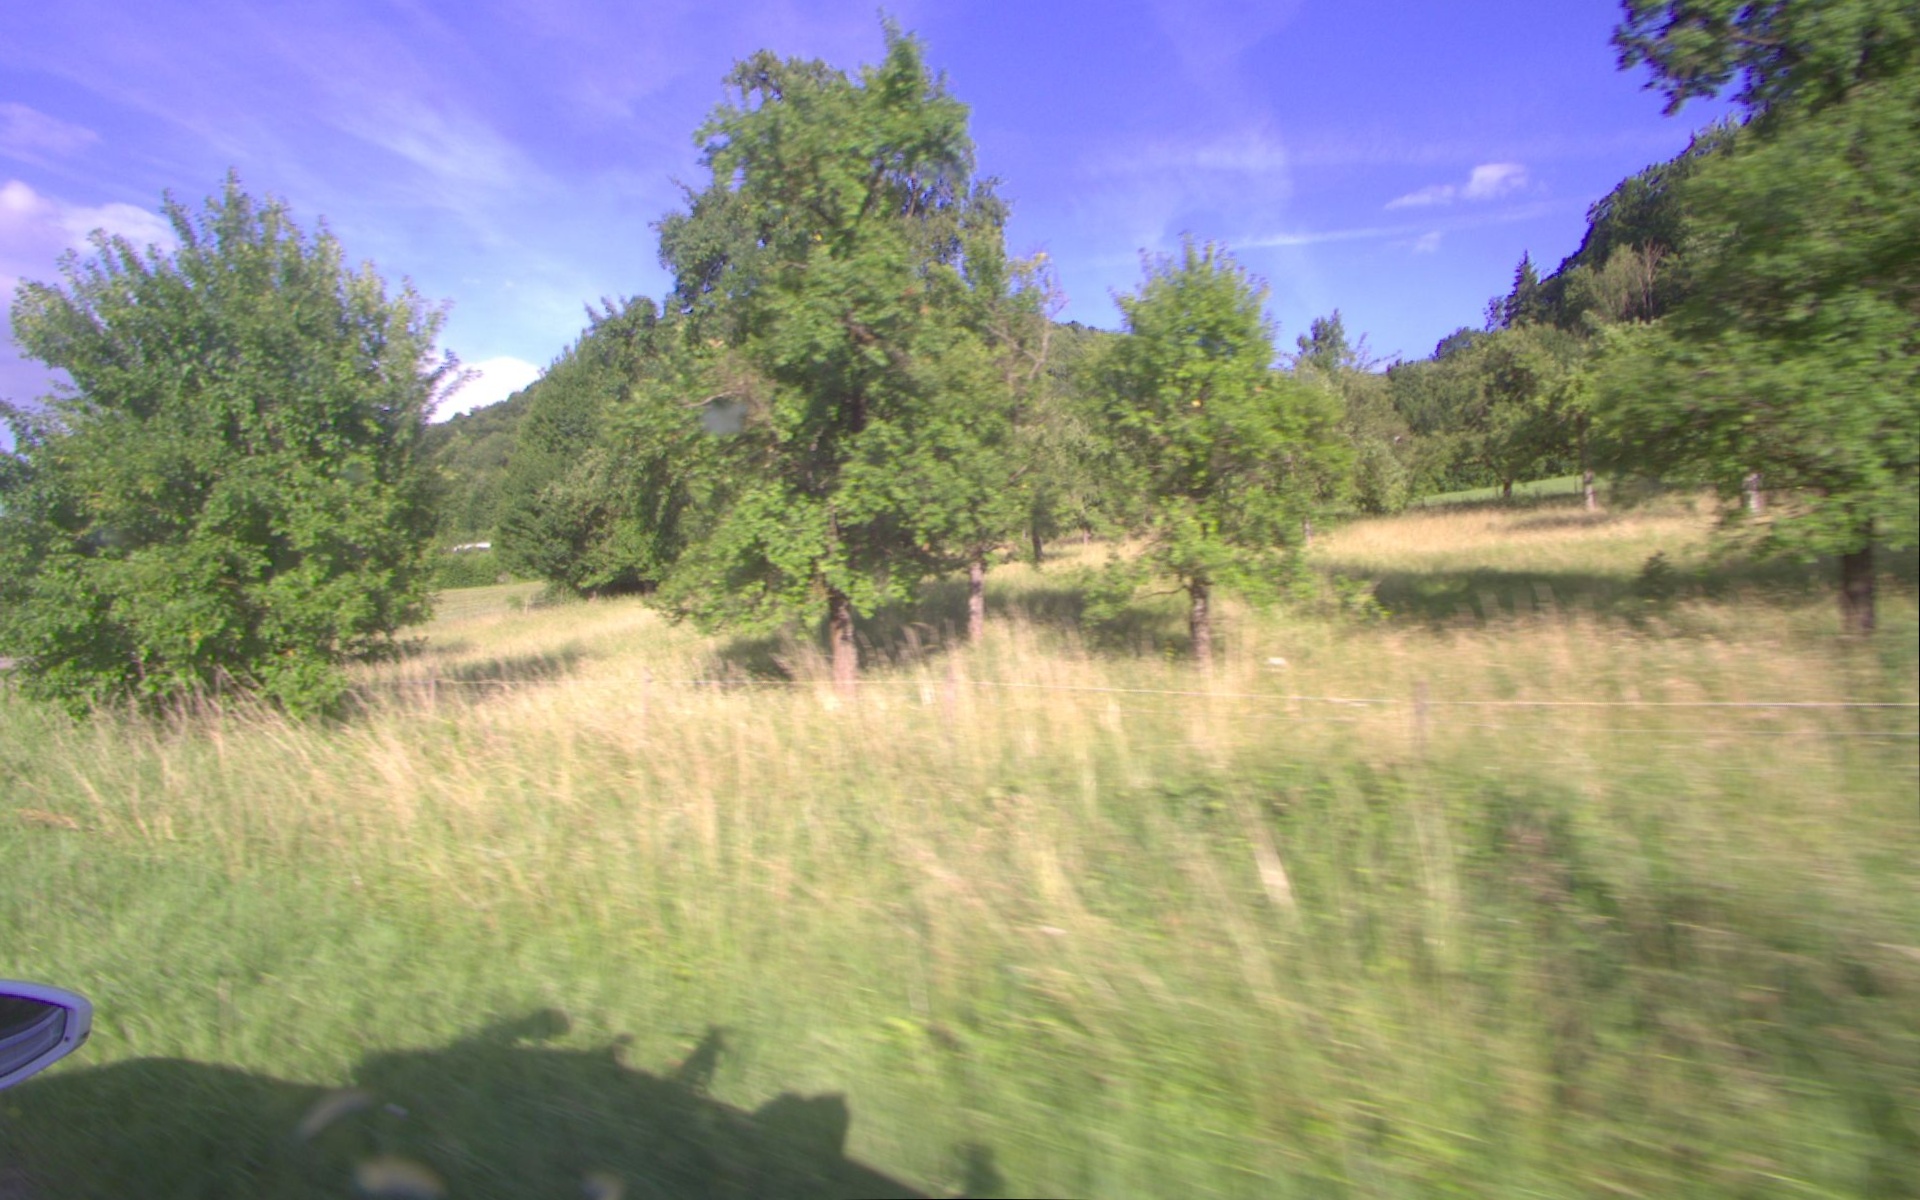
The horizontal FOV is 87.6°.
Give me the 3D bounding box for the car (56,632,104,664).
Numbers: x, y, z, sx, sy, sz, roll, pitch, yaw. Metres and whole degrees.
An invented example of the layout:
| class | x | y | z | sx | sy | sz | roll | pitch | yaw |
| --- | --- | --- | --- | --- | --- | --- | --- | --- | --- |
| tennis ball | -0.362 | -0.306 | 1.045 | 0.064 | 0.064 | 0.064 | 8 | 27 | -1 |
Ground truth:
| class | x | y | z | sx | sy | sz | roll | pitch | yaw |
| --- | --- | --- | --- | --- | --- | --- | --- | --- | --- |
| car | -40.316 | 2.181 | 45.851 | 1.612 | 1.407 | 3.964 | 1 | -3 | -42 |
